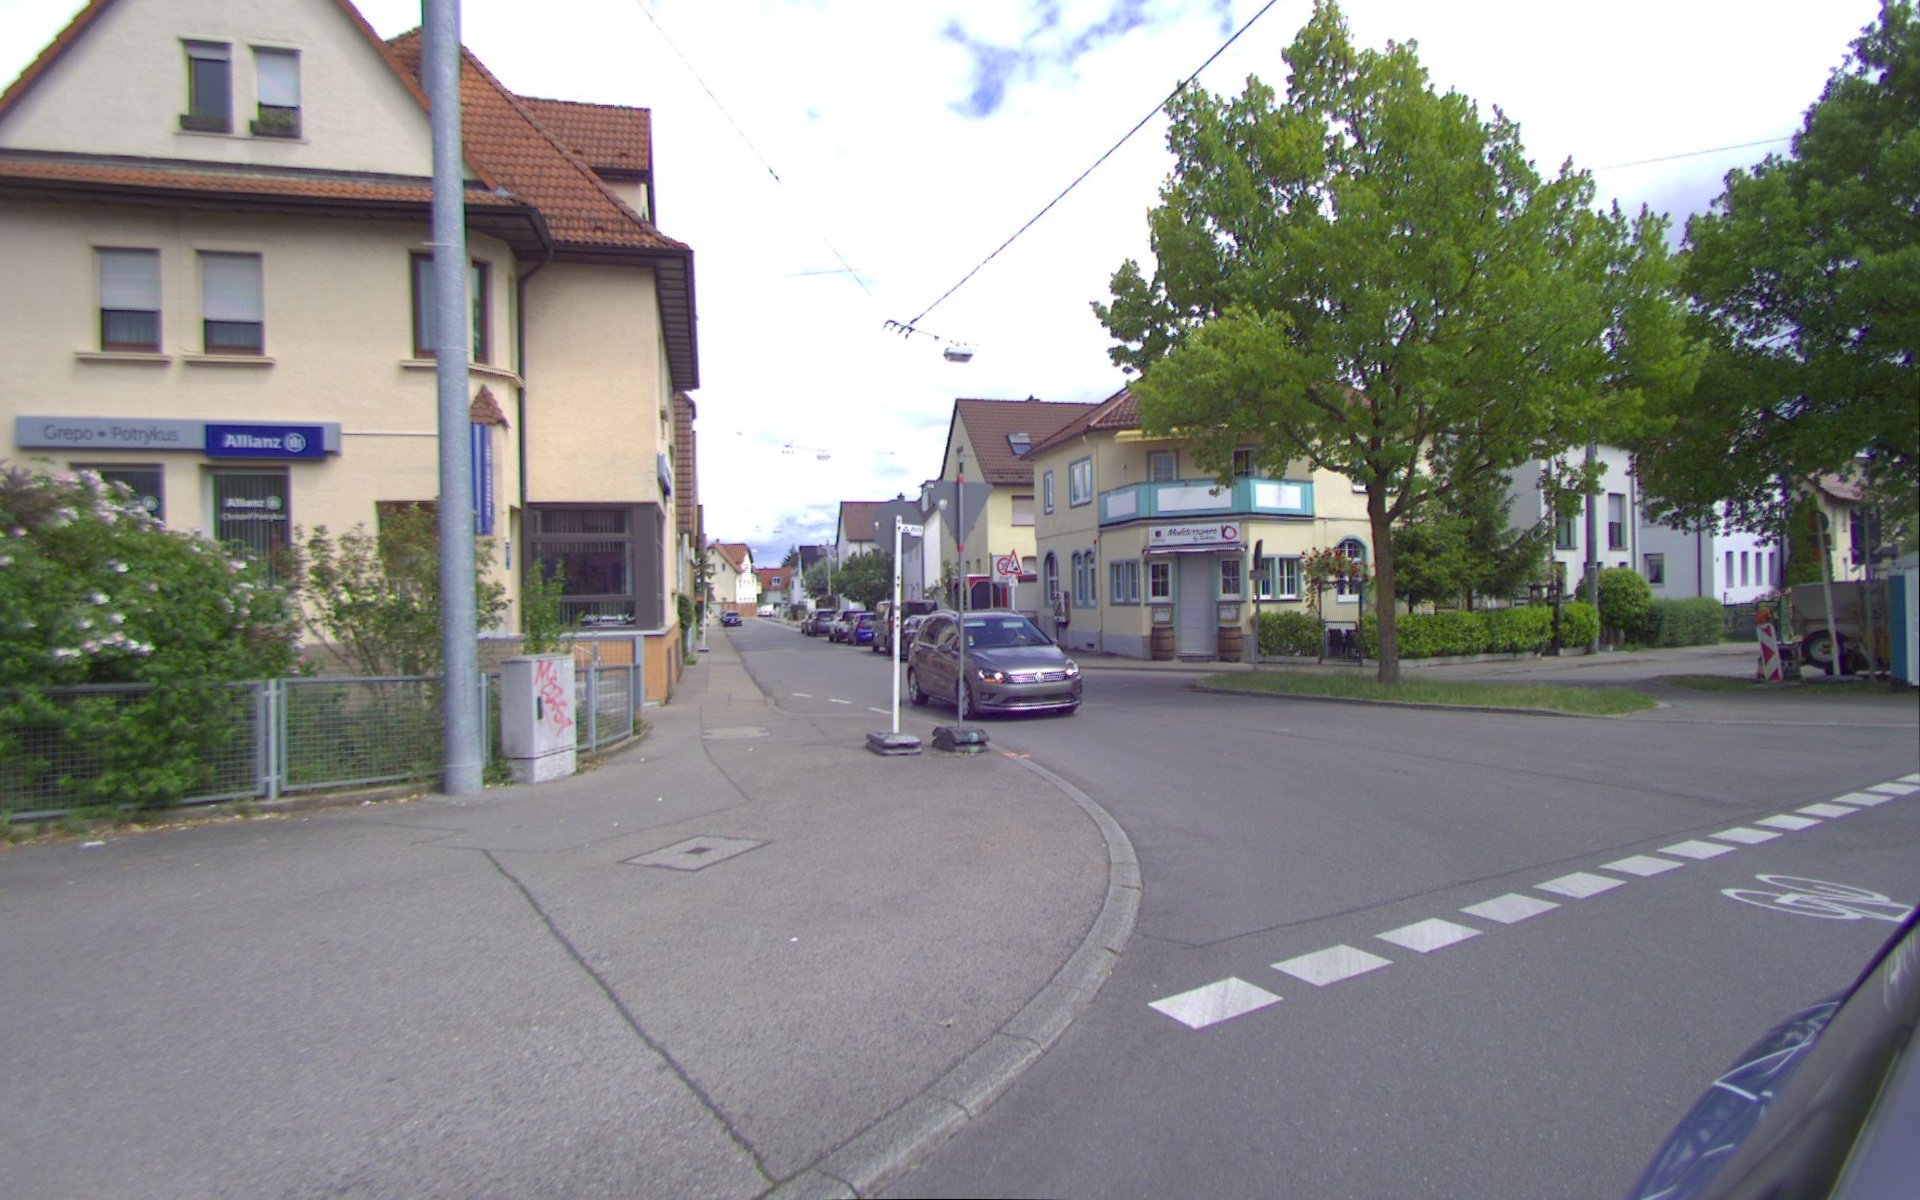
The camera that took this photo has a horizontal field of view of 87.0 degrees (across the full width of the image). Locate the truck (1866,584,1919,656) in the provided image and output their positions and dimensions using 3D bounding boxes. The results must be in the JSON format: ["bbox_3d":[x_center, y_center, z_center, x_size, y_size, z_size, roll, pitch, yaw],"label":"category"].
[{"bbox_3d":[28.336,0.530,27.703,1.964,2.040,5.947,-1,-2,5],"label":"truck"}]

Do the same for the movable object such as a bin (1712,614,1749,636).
[{"bbox_3d":[34.712,1.105,45.599,0.807,0.953,1.122,0,0,-36],"label":"movable object such as a bin"}]

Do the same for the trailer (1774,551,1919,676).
[{"bbox_3d":[19.338,0.262,20.776,5.566,2.274,2.599,0,-2,-35],"label":"trailer"}]

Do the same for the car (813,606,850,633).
[{"bbox_3d":[-7.768,1.132,60.992,1.891,1.573,3.884,0,-1,-12],"label":"car"}]

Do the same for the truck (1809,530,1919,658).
[{"bbox_3d":[25.487,-0.141,25.756,2.300,3.241,6.623,0,-3,3],"label":"truck"}]

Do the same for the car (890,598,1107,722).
[{"bbox_3d":[0.442,0.842,15.778,1.831,1.646,4.006,0,-1,-23],"label":"car"}]

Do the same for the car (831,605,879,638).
[{"bbox_3d":[-5.211,1.023,49.895,1.958,1.573,3.884,0,-1,-12],"label":"car"}]

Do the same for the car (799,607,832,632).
[{"bbox_3d":[-9.670,1.283,67.456,1.891,1.573,3.884,0,-1,-12],"label":"car"}]

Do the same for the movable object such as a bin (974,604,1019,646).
[{"bbox_3d":[1.337,0.897,37.093,1.384,1.510,1.308,0,-1,-10],"label":"movable object such as a bin"}]

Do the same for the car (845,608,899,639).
[{"bbox_3d":[-4.047,1.042,46.086,1.958,1.378,3.884,0,-1,-12],"label":"car"}]

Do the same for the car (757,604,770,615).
[{"bbox_3d":[-33.858,1.676,174.574,2.067,1.896,3.884,0,-1,-12],"label":"car"}]

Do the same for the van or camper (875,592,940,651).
[{"bbox_3d":[-1.981,0.754,36.887,1.814,2.024,4.098,0,0,-11],"label":"van or camper"}]

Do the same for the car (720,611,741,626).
[{"bbox_3d":[-22.474,1.787,99.009,1.958,1.349,4.007,0,0,-13],"label":"car"}]
